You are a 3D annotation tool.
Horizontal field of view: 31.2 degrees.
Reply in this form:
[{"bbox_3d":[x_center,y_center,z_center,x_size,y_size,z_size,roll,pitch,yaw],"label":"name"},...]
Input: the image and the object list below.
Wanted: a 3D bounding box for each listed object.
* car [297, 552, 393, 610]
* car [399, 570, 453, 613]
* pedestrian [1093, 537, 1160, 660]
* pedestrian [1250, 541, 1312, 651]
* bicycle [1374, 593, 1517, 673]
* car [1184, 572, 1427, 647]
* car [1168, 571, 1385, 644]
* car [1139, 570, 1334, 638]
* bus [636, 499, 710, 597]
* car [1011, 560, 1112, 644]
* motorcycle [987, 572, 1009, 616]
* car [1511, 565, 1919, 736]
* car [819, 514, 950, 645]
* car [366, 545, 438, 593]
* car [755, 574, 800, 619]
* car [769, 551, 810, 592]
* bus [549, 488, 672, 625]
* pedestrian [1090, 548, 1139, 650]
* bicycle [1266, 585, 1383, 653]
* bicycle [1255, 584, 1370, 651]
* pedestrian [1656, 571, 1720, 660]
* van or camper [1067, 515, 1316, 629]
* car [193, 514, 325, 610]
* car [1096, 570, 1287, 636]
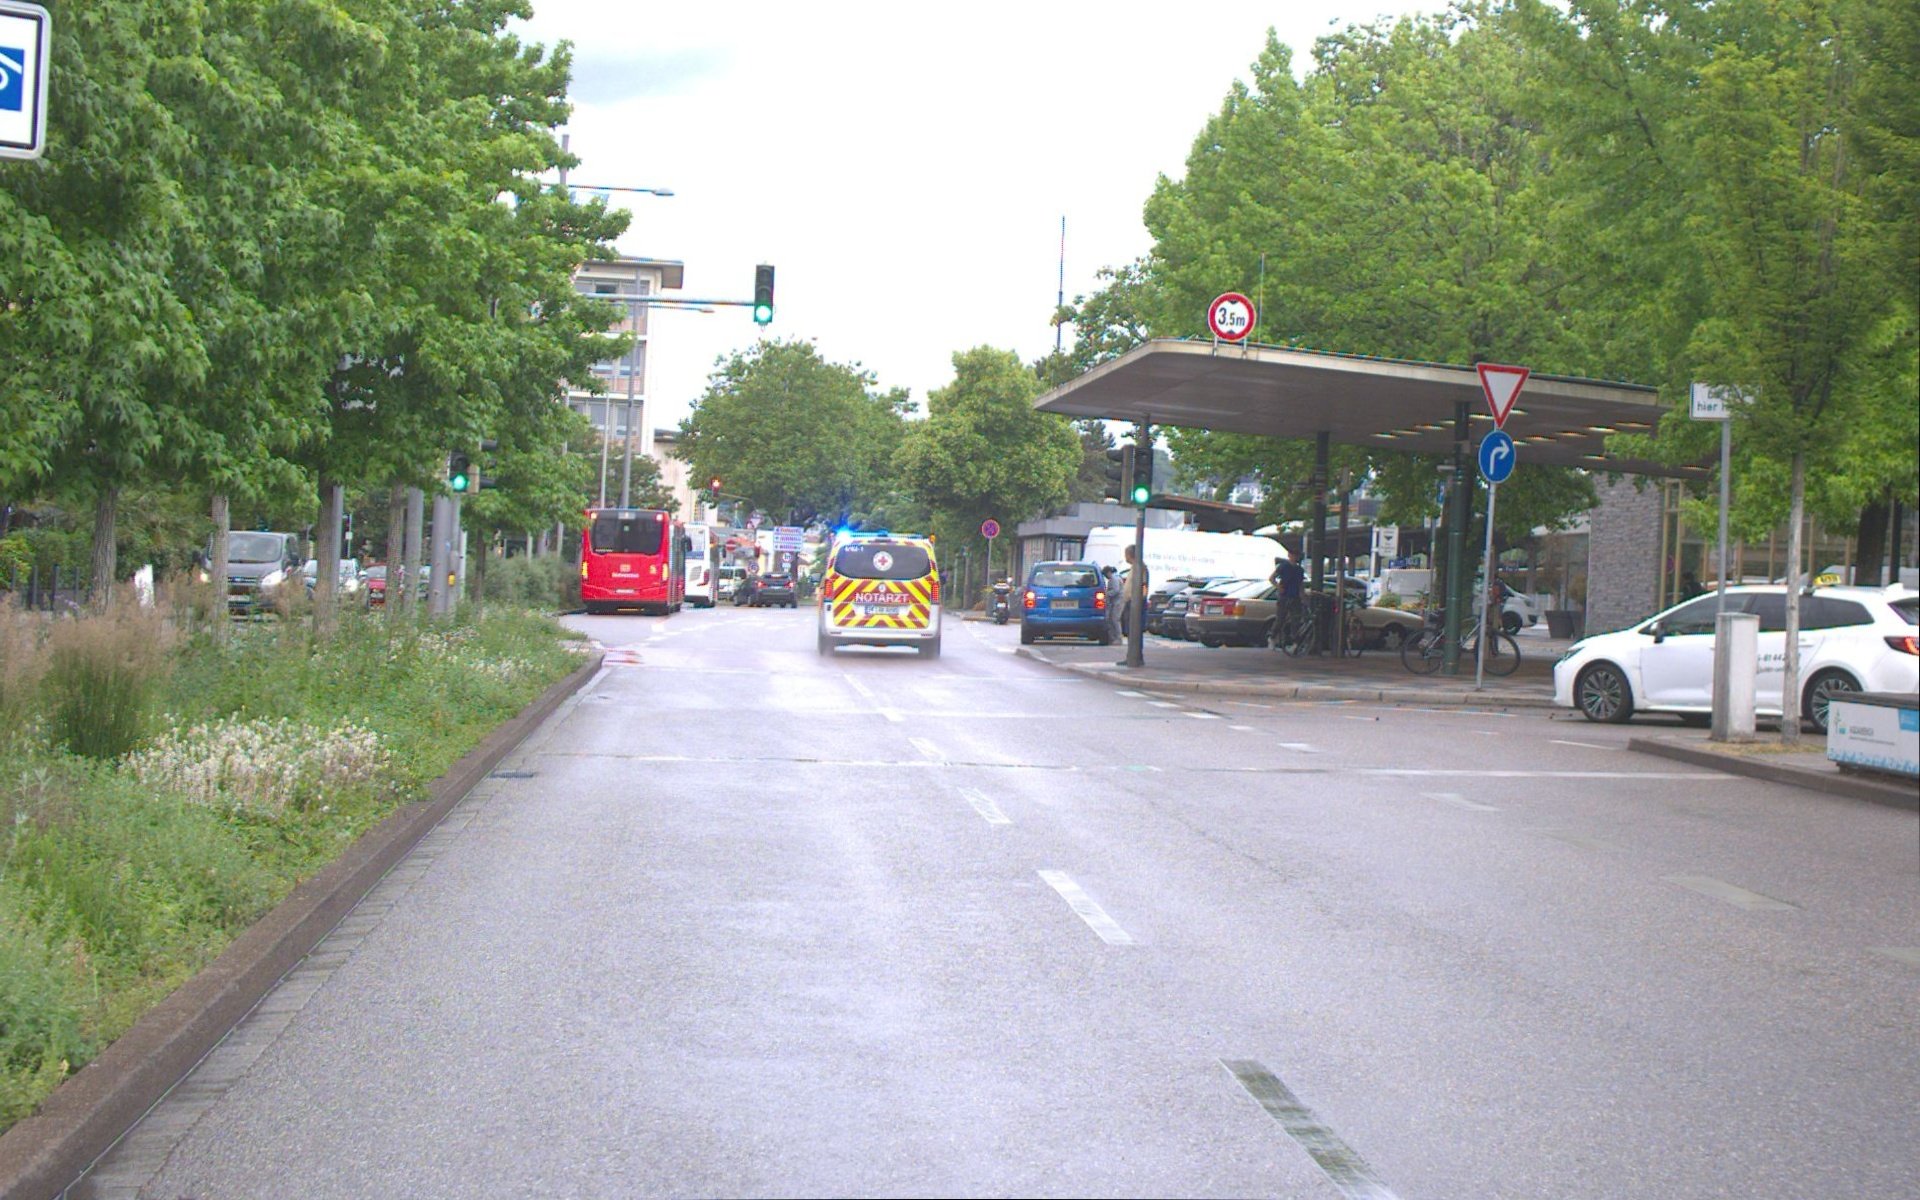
[{"bbox_3d":[-16.501,-0.515,92.455,1.993,1.538,4.633,0,0,-3],"label":"car"},{"bbox_3d":[-19.357,-0.322,124.720,1.597,1.525,3.653,0,0,-3],"label":"car"},{"bbox_3d":[2.399,-0.019,49.565,0.746,1.741,0.836,1,0,-11],"label":"pedestrian"},{"bbox_3d":[5.460,-0.066,58.566,0.856,1.829,1.190,1,0,-4],"label":"pedestrian"},{"bbox_3d":[6.440,0.438,45.645,1.827,1.052,0.420,0,0,-3],"label":"bicycle"},{"bbox_3d":[6.524,0.175,64.934,4.184,1.321,1.841,1,0,-23],"label":"car"},{"bbox_3d":[6.322,0.147,68.595,3.987,1.354,1.864,1,0,-34],"label":"car"},{"bbox_3d":[6.213,0.090,77.150,3.986,1.438,1.865,1,0,-30],"label":"car"},{"bbox_3d":[-11.363,-2.021,135.801,2.805,3.734,10.447,0,0,-5],"label":"bus"},{"bbox_3d":[1.975,0.043,67.812,1.858,1.564,4.000,1,0,0],"label":"car"},{"bbox_3d":[1.137,-0.192,102.053,0.595,1.284,1.953,1,1,2],"label":"motorcycle"},{"bbox_3d":[7.898,0.456,33.932,1.759,1.540,4.774,1,0,-43],"label":"car"},{"bbox_3d":[-1.261,-0.331,55.322,1.993,2.007,5.062,0,0,-3],"label":"car"},{"bbox_3d":[-16.884,-0.941,104.137,1.747,1.425,3.954,0,0,-3],"label":"car"},{"bbox_3d":[-8.229,-0.162,155.147,1.993,2.007,4.000,0,0,-3],"label":"car"},{"bbox_3d":[-8.462,-1.396,170.550,1.993,2.007,4.000,0,0,-3],"label":"car"},{"bbox_3d":[-10.612,-1.286,105.119,3.544,3.966,11.173,0,0,-5],"label":"bus"},{"bbox_3d":[3.061,-0.018,68.174,0.831,2.007,0.889,0,0,-8],"label":"pedestrian"},{"bbox_3d":[5.736,0.291,54.088,1.827,1.052,0.420,0,0,-21],"label":"bicycle"},{"bbox_3d":[5.597,0.281,54.529,1.827,1.052,0.420,0,0,-21],"label":"bicycle"},{"bbox_3d":[12.854,0.268,60.697,0.865,1.553,0.814,0,0,-10],"label":"pedestrian"},{"bbox_3d":[5.765,-0.689,85.385,5.946,2.753,2.199,0,0,-30],"label":"van or camper"},{"bbox_3d":[-15.180,-0.811,74.712,1.993,2.007,5.001,0,0,-2],"label":"car"},{"bbox_3d":[5.344,0.072,79.306,3.986,1.438,1.865,1,0,-30],"label":"car"}]
